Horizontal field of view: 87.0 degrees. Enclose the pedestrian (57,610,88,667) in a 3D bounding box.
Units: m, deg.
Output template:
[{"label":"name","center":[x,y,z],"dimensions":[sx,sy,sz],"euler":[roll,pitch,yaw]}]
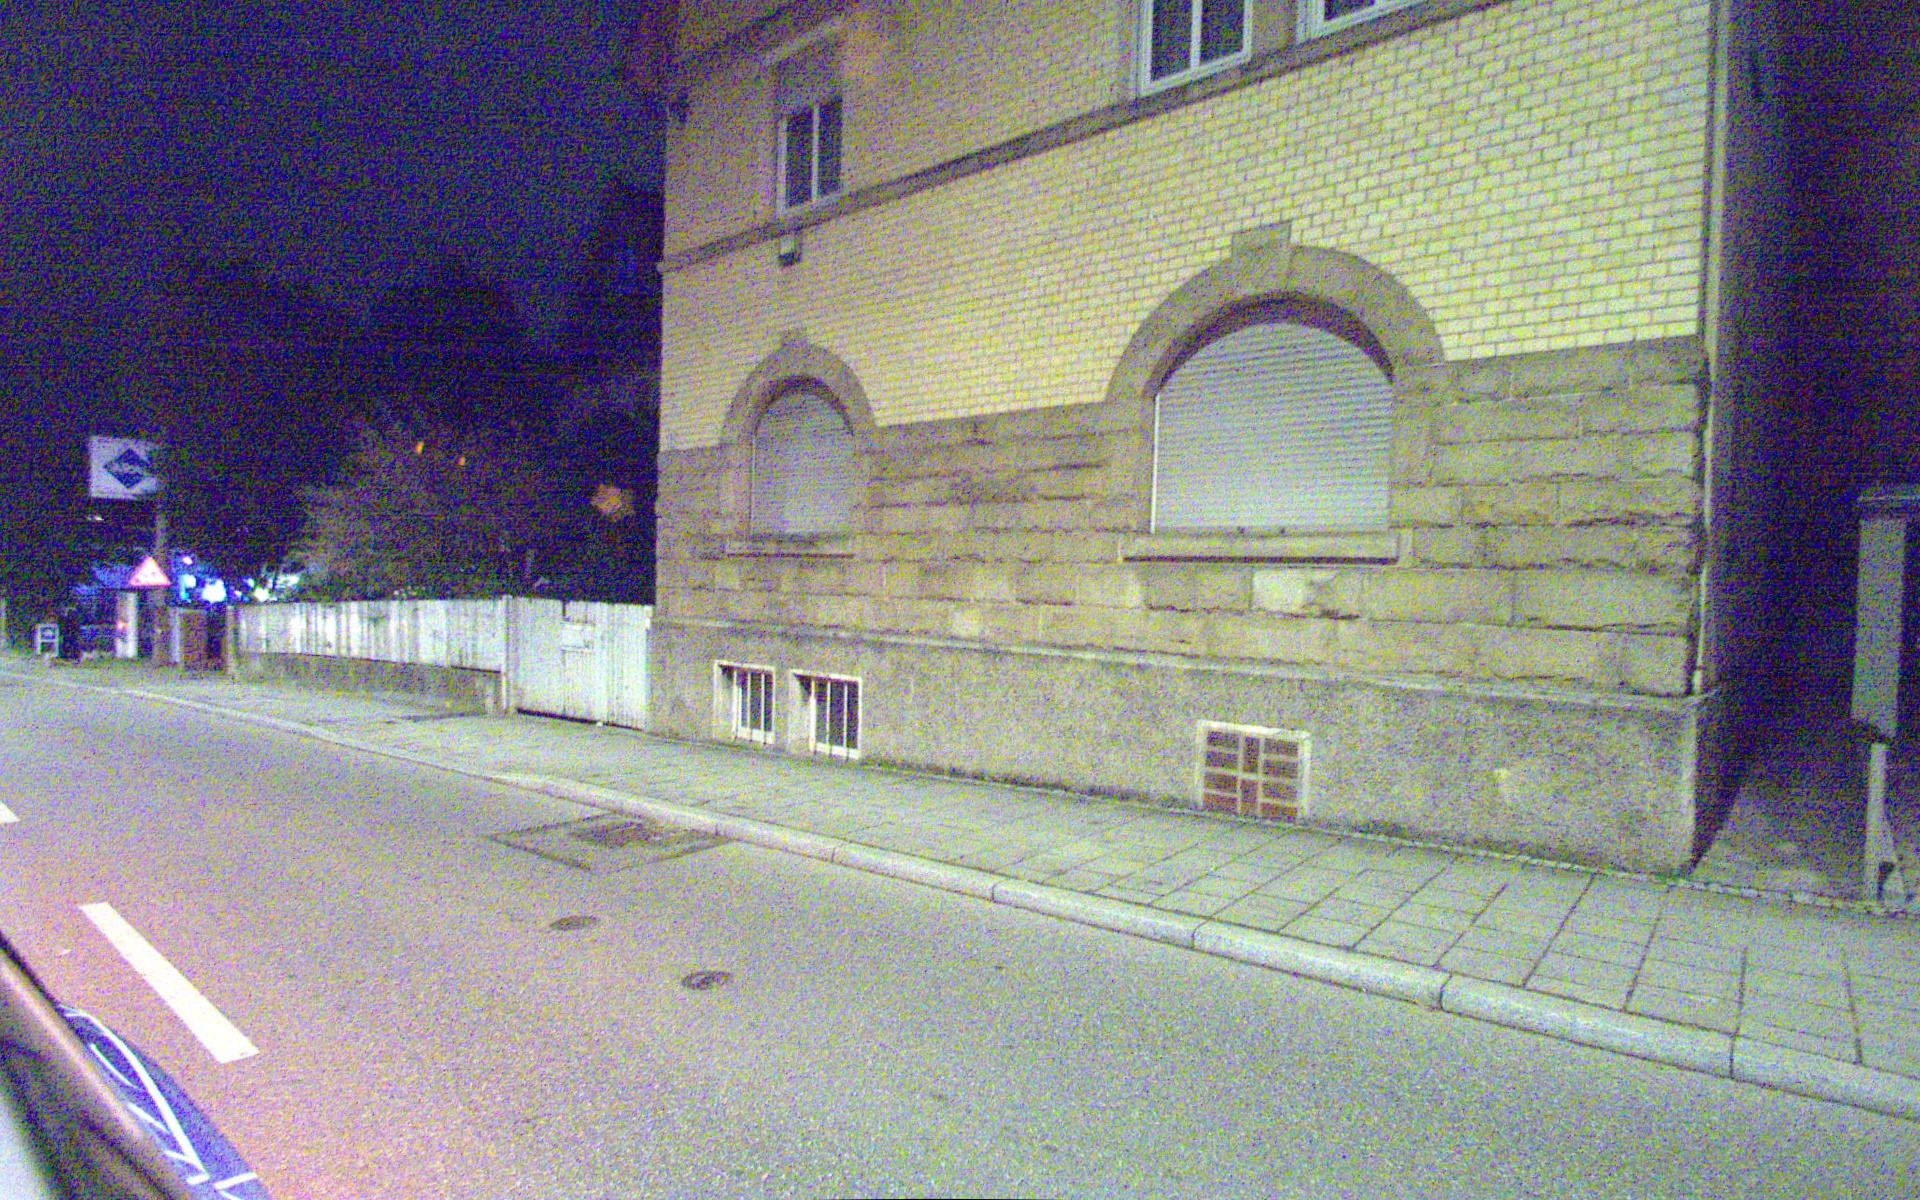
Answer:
[{"label":"pedestrian","center":[-28.133,1.206,32.068],"dimensions":[0.500,1.773,0.664],"euler":[-1,0,41]}]
